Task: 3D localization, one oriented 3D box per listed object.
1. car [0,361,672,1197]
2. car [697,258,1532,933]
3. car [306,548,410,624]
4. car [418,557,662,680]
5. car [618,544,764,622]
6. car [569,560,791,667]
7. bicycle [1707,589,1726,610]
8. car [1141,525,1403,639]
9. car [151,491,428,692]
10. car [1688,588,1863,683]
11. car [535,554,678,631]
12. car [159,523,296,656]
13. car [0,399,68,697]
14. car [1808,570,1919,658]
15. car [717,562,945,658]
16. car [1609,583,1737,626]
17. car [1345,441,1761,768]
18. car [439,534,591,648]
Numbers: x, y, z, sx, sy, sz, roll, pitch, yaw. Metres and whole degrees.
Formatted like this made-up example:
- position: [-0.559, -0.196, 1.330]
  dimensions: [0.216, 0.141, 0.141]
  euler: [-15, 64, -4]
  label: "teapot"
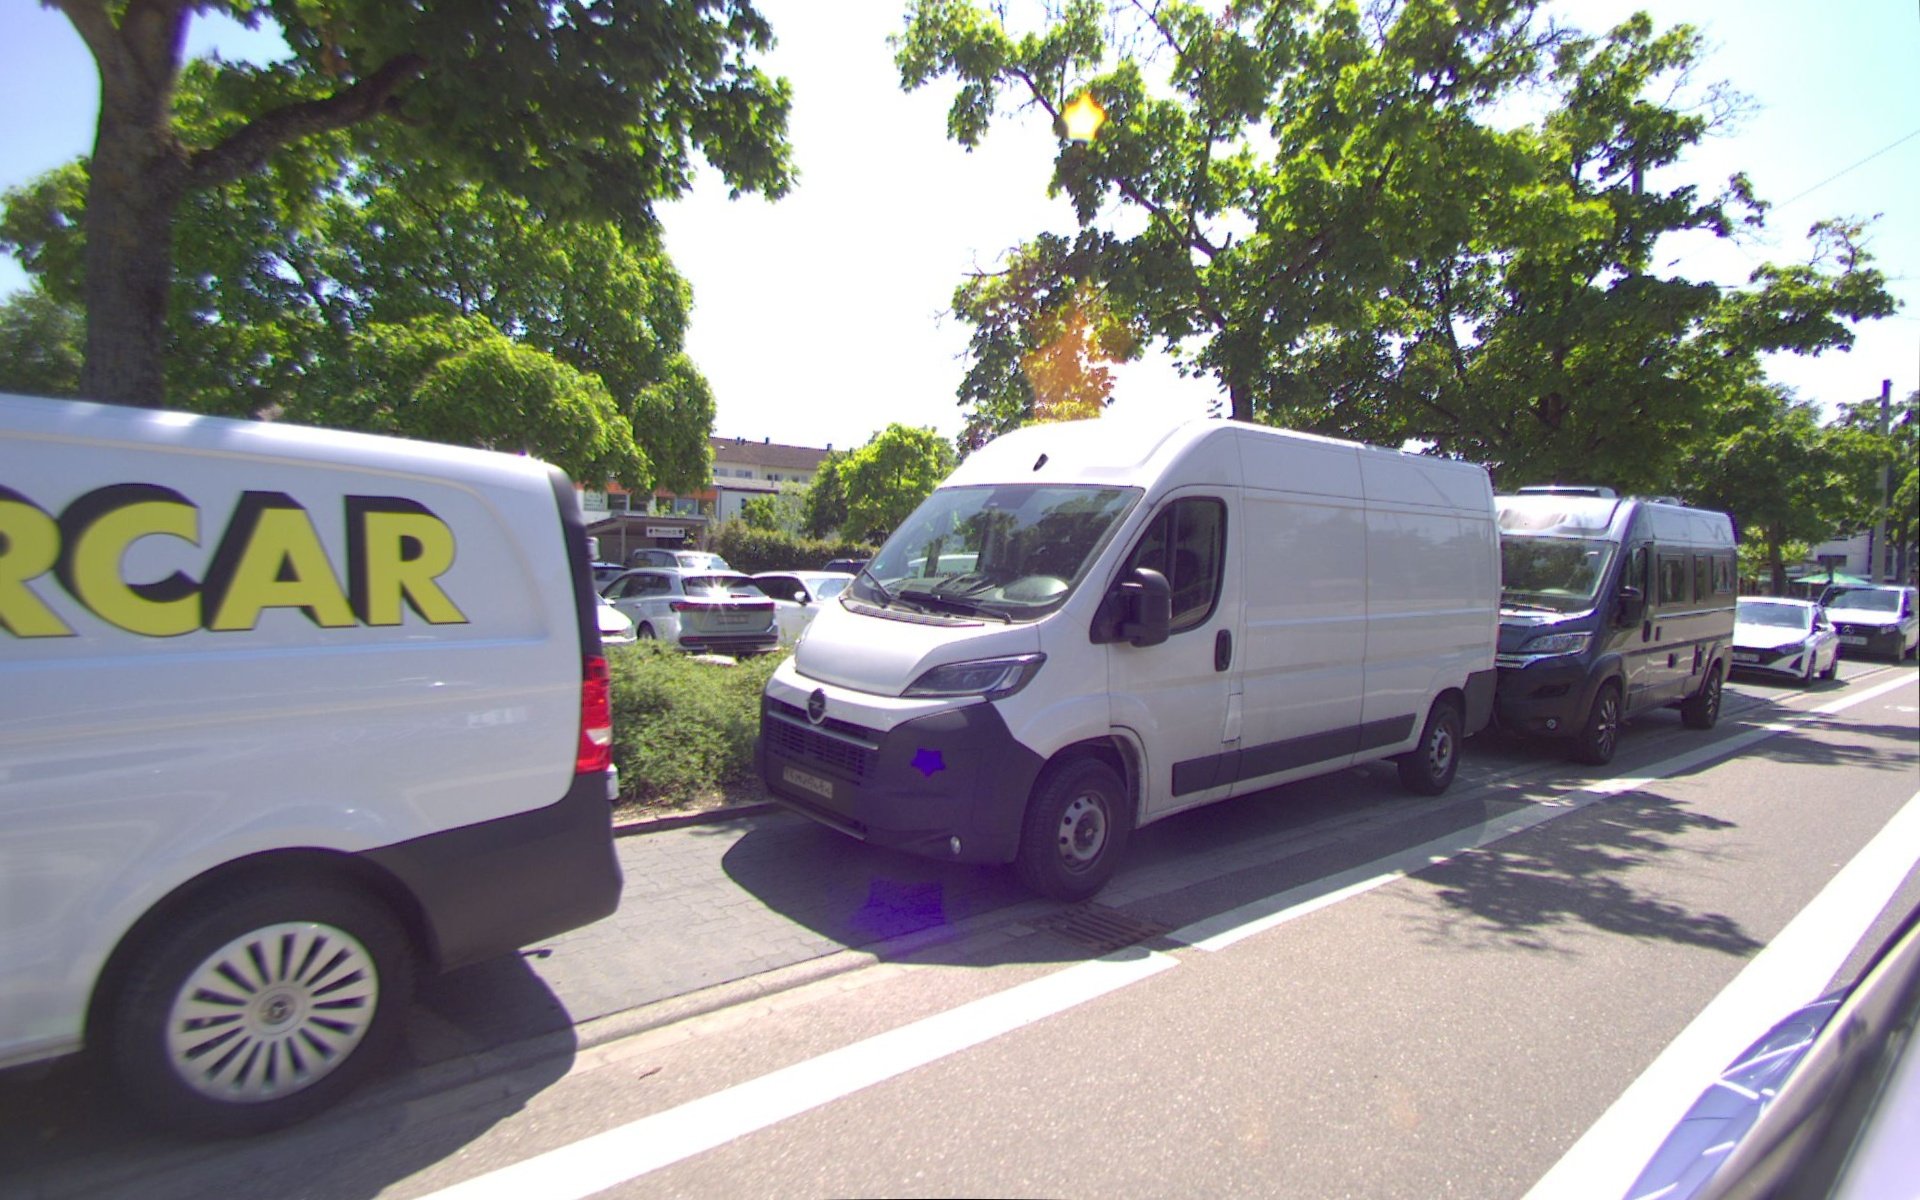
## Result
- position: [-3.581, 0.339, 2.390]
  dimensions: [5.181, 1.900, 2.003]
  euler: [0, 4, -40]
  label: "car"
- position: [1.521, -0.081, 6.755]
  dimensions: [6.036, 2.668, 2.002]
  euler: [0, 4, -42]
  label: "car"
- position: [-14.195, -0.369, 23.798]
  dimensions: [1.652, 1.564, 3.344]
  euler: [0, 4, -39]
  label: "car"
- position: [-5.759, 0.206, 13.663]
  dimensions: [3.887, 1.423, 1.700]
  euler: [0, 0, 45]
  label: "car"
- position: [-7.813, -0.555, 29.001]
  dimensions: [2.057, 1.899, 5.110]
  euler: [0, 4, -40]
  label: "car"
- position: [-4.382, 0.169, 15.484]
  dimensions: [1.699, 1.423, 3.890]
  euler: [0, 0, -43]
  label: "car"
- position: [41.261, -0.032, 55.207]
  dimensions: [0.542, 1.081, 1.870]
  euler: [3, 2, 44]
  label: "bicycle"
- position: [7.796, -0.420, 26.047]
  dimensions: [2.222, 2.561, 6.357]
  euler: [0, 0, -38]
  label: "car"
- position: [-8.059, -0.090, 11.983]
  dimensions: [1.923, 1.933, 4.408]
  euler: [0, 0, -45]
  label: "car"
- position: [14.987, 0.562, 18.523]
  dimensions: [4.135, 1.445, 1.726]
  euler: [0, 4, -41]
  label: "car"
- position: [-9.823, -0.278, 27.871]
  dimensions: [2.057, 1.773, 5.110]
  euler: [0, 4, -40]
  label: "car"
- position: [-16.038, -0.363, 22.010]
  dimensions: [2.057, 2.489, 5.505]
  euler: [0, 4, -40]
  label: "car"
- position: [-10.348, -0.436, 10.048]
  dimensions: [2.057, 2.490, 5.501]
  euler: [0, 0, -40]
  label: "car"
- position: [23.566, 0.308, 25.940]
  dimensions: [5.034, 1.939, 1.884]
  euler: [0, 4, -41]
  label: "car"
- position: [-2.298, 0.144, 17.160]
  dimensions: [1.699, 1.423, 4.281]
  euler: [0, 0, -43]
  label: "car"
- position: [30.338, 0.136, 43.147]
  dimensions: [1.912, 1.630, 4.143]
  euler: [0, 2, -44]
  label: "car"
- position: [6.679, -0.036, 10.985]
  dimensions: [5.973, 2.668, 2.002]
  euler: [0, 4, -42]
  label: "car"
- position: [-11.363, -0.336, 25.560]
  dimensions: [2.057, 2.489, 5.505]
  euler: [0, 4, -40]
  label: "car"
